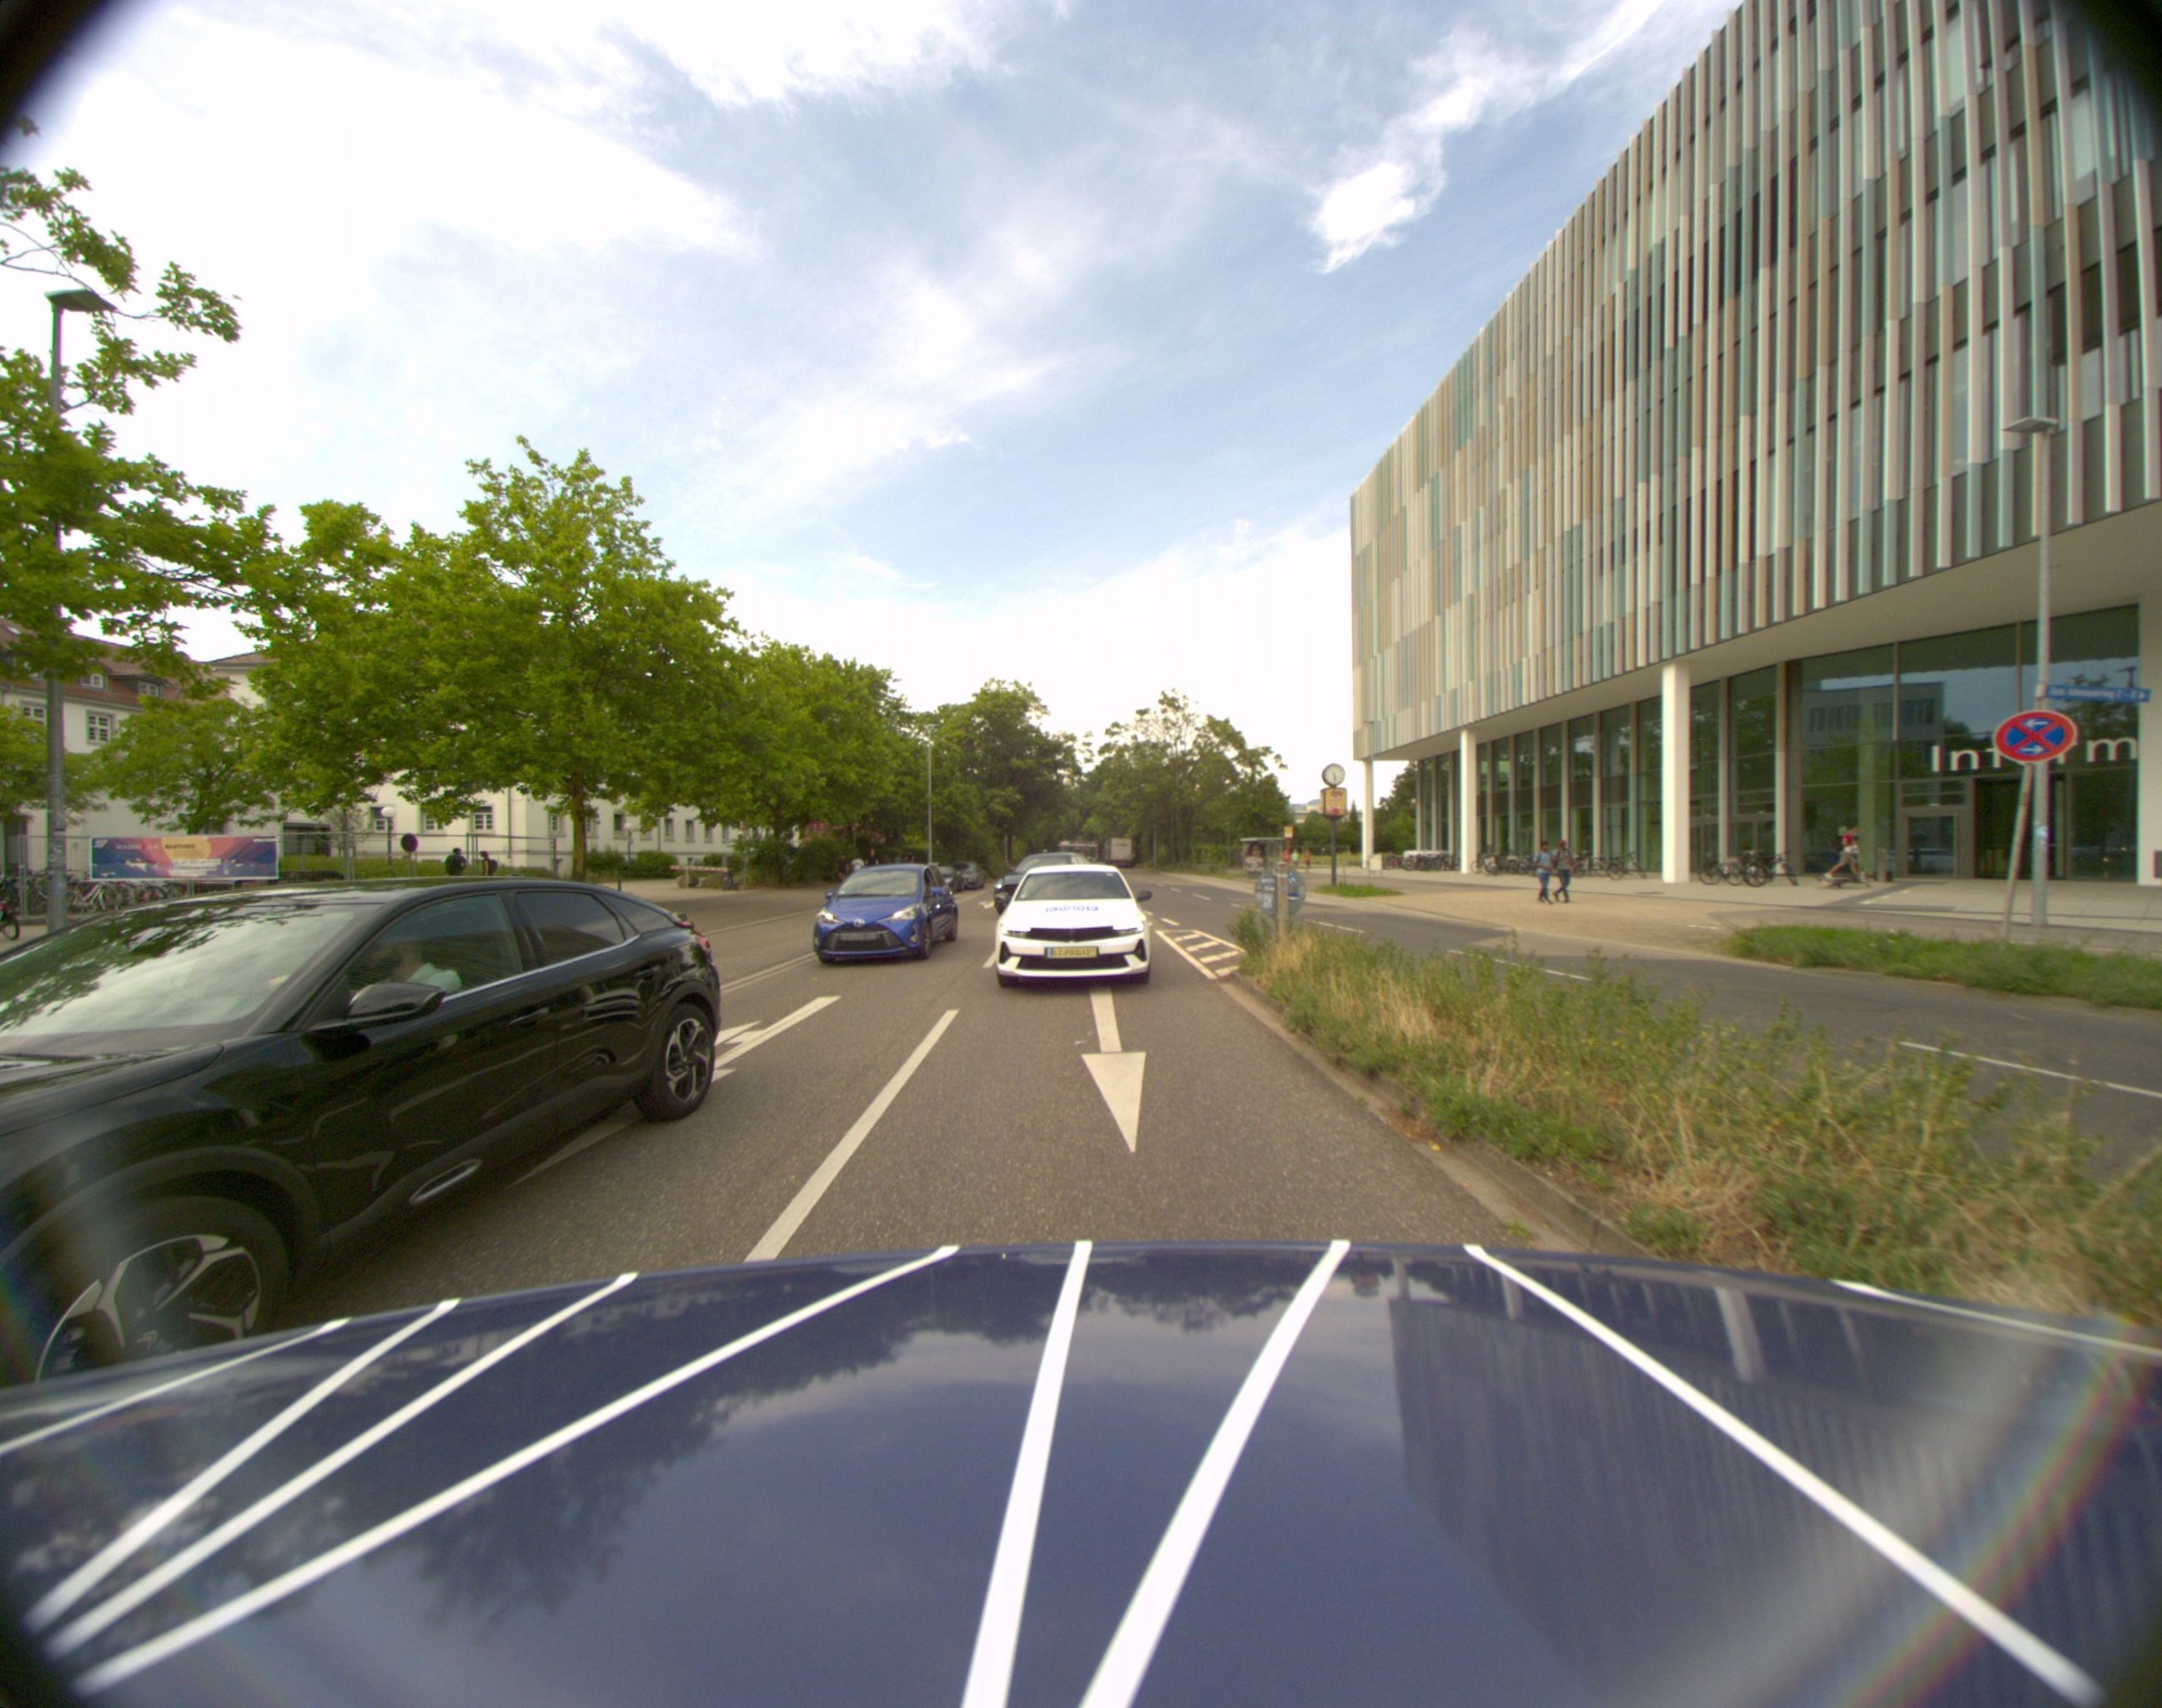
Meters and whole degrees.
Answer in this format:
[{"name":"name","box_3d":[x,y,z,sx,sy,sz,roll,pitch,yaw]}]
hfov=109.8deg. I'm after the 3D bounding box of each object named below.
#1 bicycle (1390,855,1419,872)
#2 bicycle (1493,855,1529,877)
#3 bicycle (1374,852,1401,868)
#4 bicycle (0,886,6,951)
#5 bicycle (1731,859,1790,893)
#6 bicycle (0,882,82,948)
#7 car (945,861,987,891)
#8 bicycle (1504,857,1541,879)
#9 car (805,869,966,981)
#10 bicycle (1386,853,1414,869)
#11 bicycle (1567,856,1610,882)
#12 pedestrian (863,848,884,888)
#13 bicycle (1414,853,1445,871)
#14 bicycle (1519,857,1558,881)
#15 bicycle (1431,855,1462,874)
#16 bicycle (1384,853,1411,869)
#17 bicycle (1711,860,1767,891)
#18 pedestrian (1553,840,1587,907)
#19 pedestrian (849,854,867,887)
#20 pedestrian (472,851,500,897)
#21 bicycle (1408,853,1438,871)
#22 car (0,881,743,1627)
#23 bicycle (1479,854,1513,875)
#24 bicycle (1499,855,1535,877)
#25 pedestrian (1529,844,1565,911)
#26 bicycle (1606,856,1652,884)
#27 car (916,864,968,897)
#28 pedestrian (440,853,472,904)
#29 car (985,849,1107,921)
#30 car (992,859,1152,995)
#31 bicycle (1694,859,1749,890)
[{"name":"bicycle","box_3d":[21.420,0.624,50.325,1.703,1.017,0.434,-3,1,-5]},{"name":"bicycle","box_3d":[21.526,0.580,38.053,1.582,1.017,0.389,-3,1,-5]},{"name":"bicycle","box_3d":[21.718,0.441,53.877,1.703,1.017,0.434,-3,1,-5]},{"name":"bicycle","box_3d":[-20.058,1.144,12.948,2.472,1.136,0.718,-1,1,1]},{"name":"bicycle","box_3d":[21.417,0.692,23.943,1.546,0.989,0.399,-3,1,-4]},{"name":"bicycle","box_3d":[-19.972,1.118,13.894,2.472,1.136,0.718,-1,1,1]},{"name":"car","box_3d":[-5.984,1.110,39.895,1.606,1.454,4.017,-1,0,0]},{"name":"bicycle","box_3d":[21.502,0.681,36.987,1.582,1.017,0.389,-3,1,-5]},{"name":"car","box_3d":[-3.058,1.044,12.684,1.703,1.485,3.831,-1,0,-1]},{"name":"bicycle","box_3d":[21.643,0.469,51.518,1.703,1.017,0.434,-3,1,-5]},{"name":"bicycle","box_3d":[21.598,0.648,32.325,1.582,1.017,0.389,-3,1,-5]},{"name":"pedestrian","box_3d":[-10.152,0.695,37.205,0.798,1.922,0.760,-1,1,-1]},{"name":"bicycle","box_3d":[21.570,0.500,47.036,1.703,1.017,0.434,-3,1,-5]},{"name":"bicycle","box_3d":[21.294,0.702,35.378,1.582,1.017,0.389,-3,1,-5]},{"name":"bicycle","box_3d":[21.848,0.615,45.397,1.703,1.017,0.389,-3,1,-5]},{"name":"bicycle","box_3d":[21.812,0.454,52.395,1.703,1.017,0.434,-3,1,-5]},{"name":"bicycle","box_3d":[21.386,0.692,24.701,1.546,0.932,0.394,-3,1,-5]},{"name":"pedestrian","box_3d":[13.639,0.548,21.199,0.512,1.826,0.624,-1,0,-1]},{"name":"pedestrian","box_3d":[-10.889,0.795,37.153,0.646,1.556,0.804,-1,1,-2]},{"name":"pedestrian","box_3d":[-22.868,0.758,29.204,0.530,1.742,0.594,-1,1,4]},{"name":"bicycle","box_3d":[21.548,0.511,47.887,1.703,1.017,0.434,-3,1,-5]},{"name":"car","box_3d":[-3.294,0.989,3.075,1.803,1.547,4.176,-2,0,2]},{"name":"bicycle","box_3d":[21.422,0.553,39.206,1.582,1.017,0.389,-3,1,-5]},{"name":"bicycle","box_3d":[21.553,0.593,37.538,1.582,1.017,0.389,-3,1,-5]},{"name":"pedestrian","box_3d":[12.957,0.645,21.145,0.512,1.826,0.772,-1,0,-1]},{"name":"bicycle","box_3d":[21.852,0.629,30.308,1.582,1.017,0.389,-3,1,-5]},{"name":"car","box_3d":[-6.348,1.165,35.124,1.703,1.361,3.831,-1,0,-1]},{"name":"pedestrian","box_3d":[-21.804,0.848,26.508,0.586,1.729,0.594,-1,1,1]},{"name":"car","box_3d":[-0.806,0.774,20.955,1.902,1.639,4.649,-1,1,16]},{"name":"car","box_3d":[-0.119,0.825,10.766,1.744,1.430,4.782,-1,0,0]},{"name":"bicycle","box_3d":[21.373,0.684,25.364,1.546,0.932,0.389,-3,1,-5]}]
